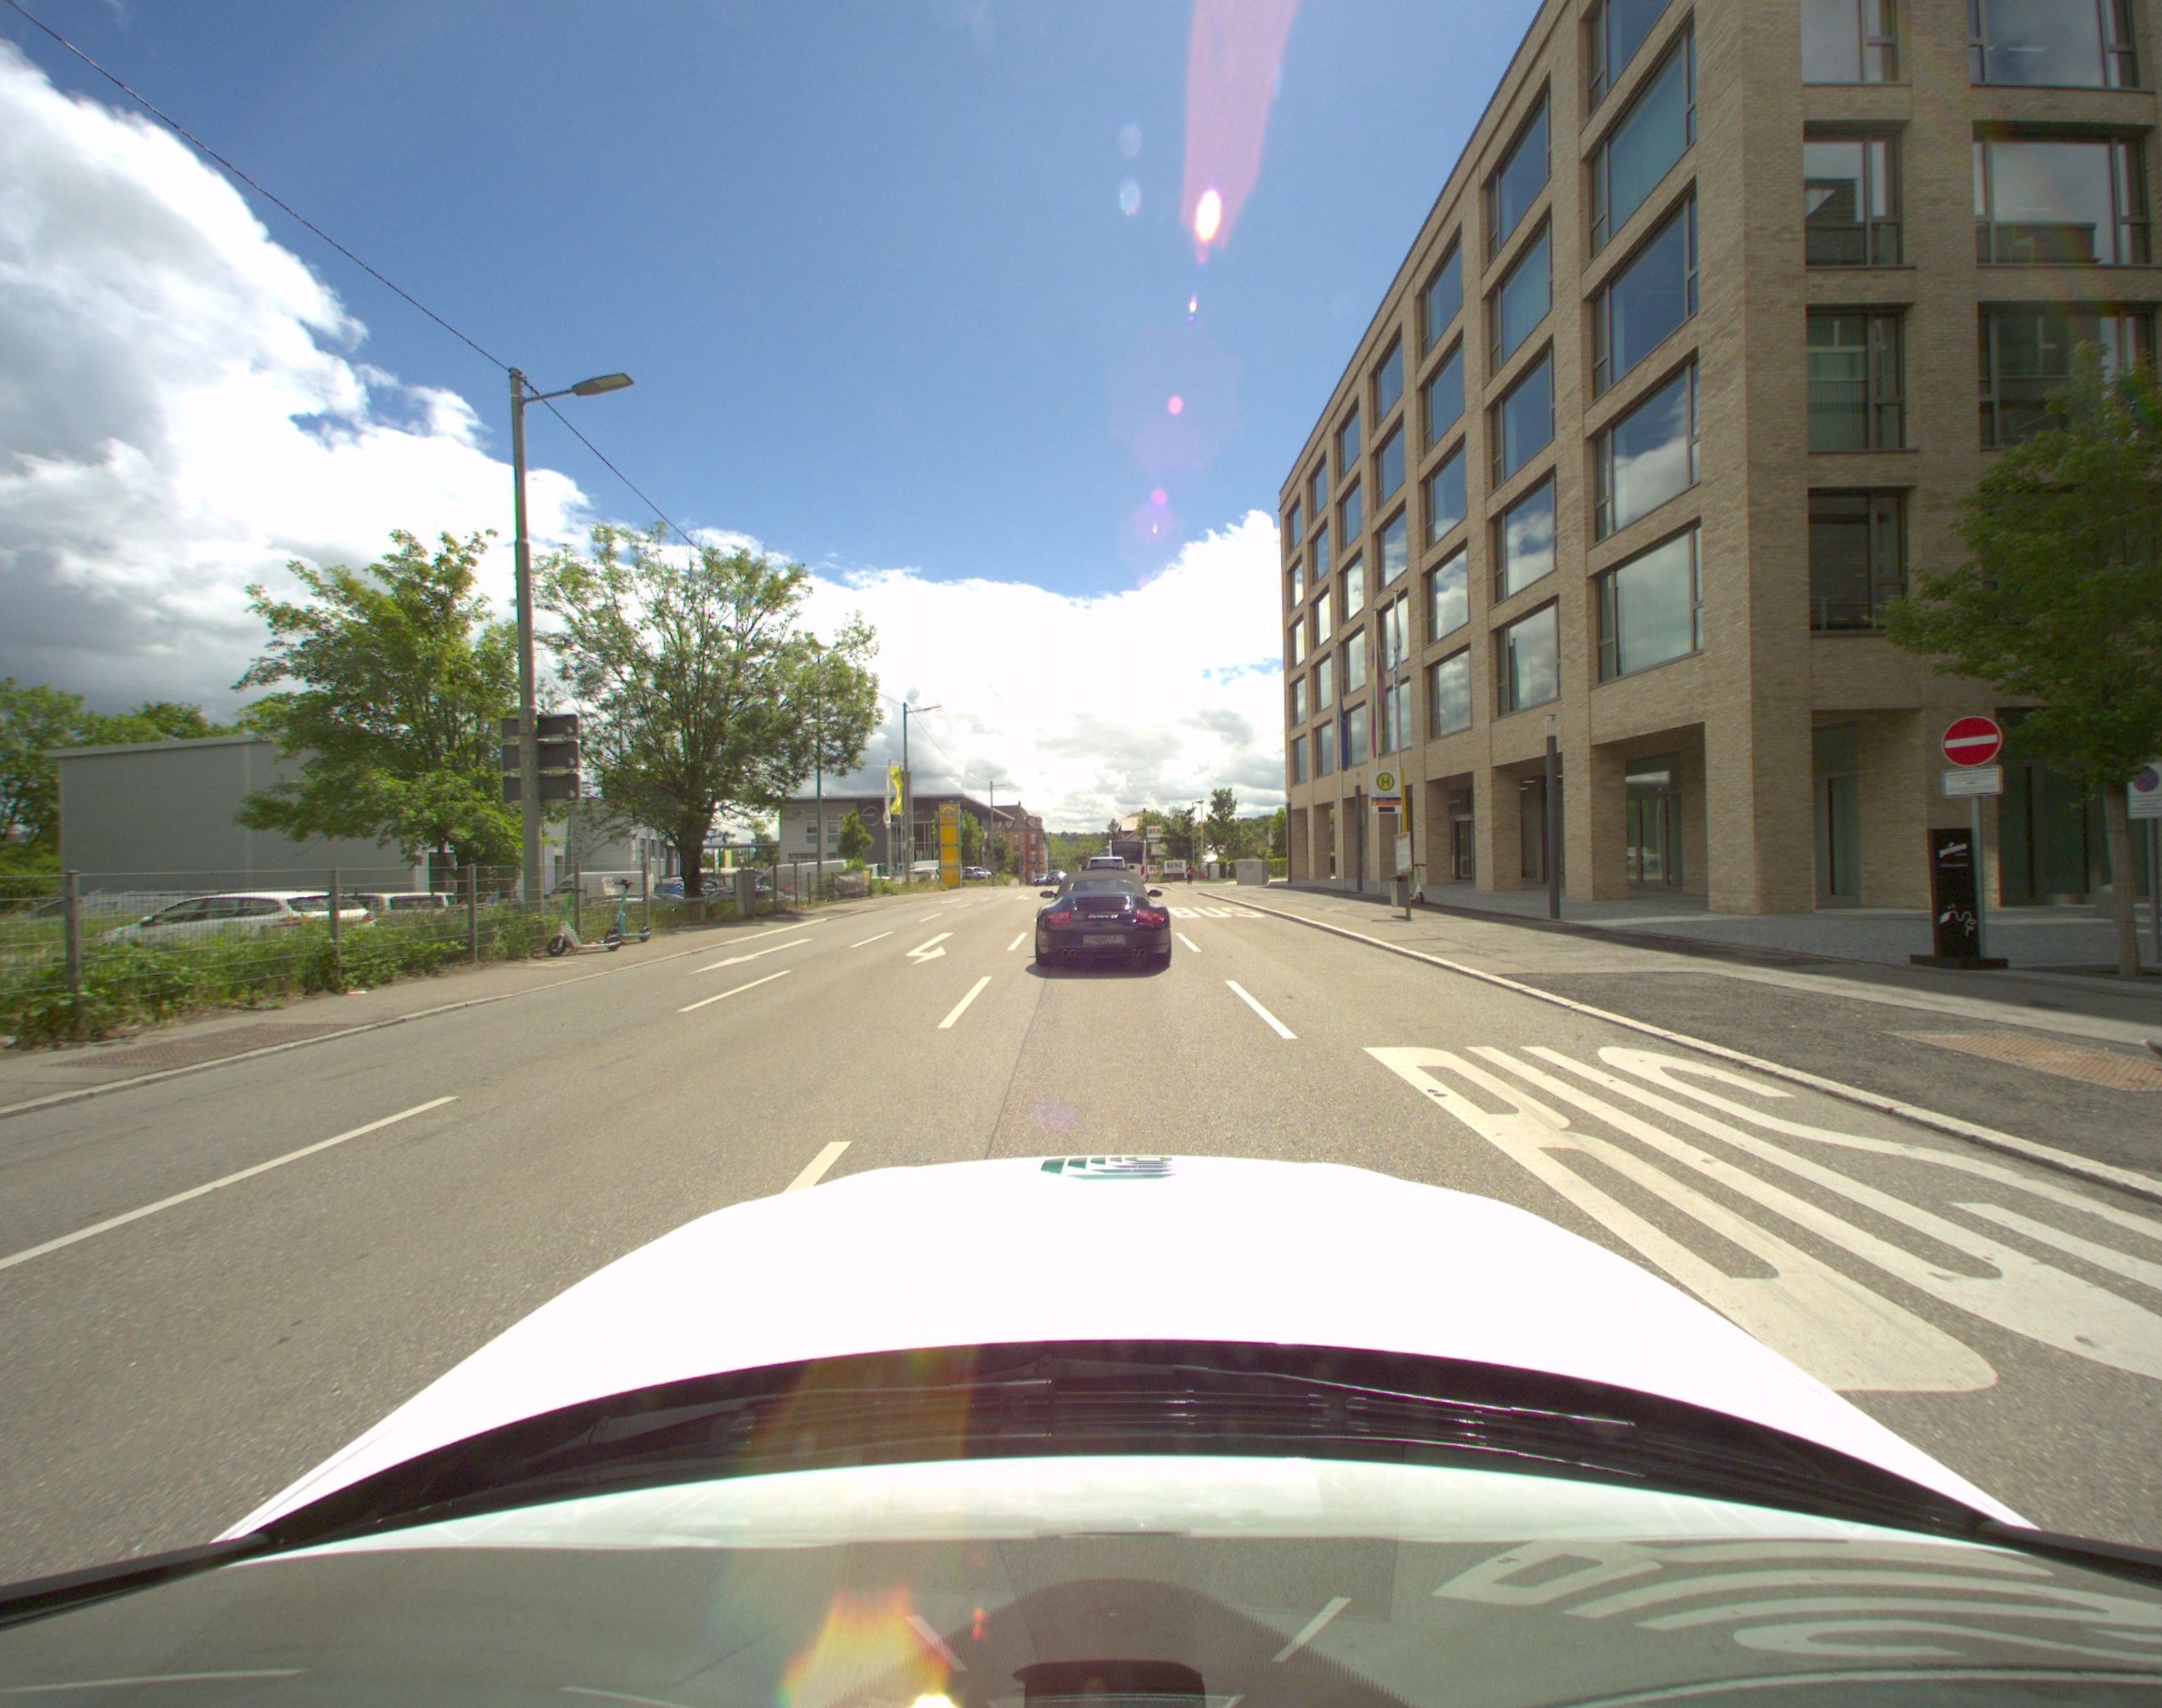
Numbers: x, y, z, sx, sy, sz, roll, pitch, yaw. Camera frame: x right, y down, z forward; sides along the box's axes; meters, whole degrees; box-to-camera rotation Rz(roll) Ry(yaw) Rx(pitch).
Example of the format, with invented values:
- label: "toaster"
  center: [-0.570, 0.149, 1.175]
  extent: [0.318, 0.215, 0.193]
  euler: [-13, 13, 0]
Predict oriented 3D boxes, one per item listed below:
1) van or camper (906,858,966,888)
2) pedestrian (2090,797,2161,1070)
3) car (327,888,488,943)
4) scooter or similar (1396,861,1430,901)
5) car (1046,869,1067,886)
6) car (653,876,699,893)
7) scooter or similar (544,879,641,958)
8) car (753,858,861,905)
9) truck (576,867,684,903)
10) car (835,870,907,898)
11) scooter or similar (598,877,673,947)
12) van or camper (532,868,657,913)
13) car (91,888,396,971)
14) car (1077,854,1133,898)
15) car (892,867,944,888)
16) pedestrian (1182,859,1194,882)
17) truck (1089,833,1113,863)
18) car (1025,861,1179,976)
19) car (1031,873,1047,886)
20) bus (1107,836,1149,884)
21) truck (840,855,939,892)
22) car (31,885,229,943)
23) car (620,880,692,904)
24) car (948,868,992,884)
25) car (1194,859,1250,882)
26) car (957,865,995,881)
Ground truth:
- label: "van or camper"
  center: [-13.143, 1.707, 74.038]
  extent: [5.011, 2.531, 2.317]
  euler: [-1, 0, 0]
- label: "pedestrian"
  center: [7.181, 0.502, 5.036]
  extent: [0.681, 1.728, 0.962]
  euler: [-1, 0, 0]
- label: "car"
  center: [-25.344, 2.250, 30.942]
  extent: [1.829, 1.728, 4.919]
  euler: [-2, -1, 3]
- label: "scooter or similar"
  center: [9.943, 0.793, 24.448]
  extent: [0.425, 1.153, 1.403]
  euler: [-2, -1, 0]
- label: "car"
  center: [-2.265, 2.182, 76.375]
  extent: [1.824, 1.509, 4.274]
  euler: [-2, -2, -1]
- label: "car"
  center: [-36.856, 2.796, 74.135]
  extent: [3.476, 1.398, 1.653]
  euler: [-1, 0, -18]
- label: "scooter or similar"
  center: [-8.581, 1.098, 14.364]
  extent: [0.530, 1.262, 1.478]
  euler: [0, 0, 18]
- label: "car"
  center: [-12.465, 1.217, 37.247]
  extent: [4.149, 2.013, 2.197]
  euler: [-1, 0, -2]
- label: "truck"
  center: [-32.010, 2.201, 58.061]
  extent: [6.314, 2.229, 2.683]
  euler: [-1, -2, -20]
- label: "car"
  center: [-12.936, 1.835, 50.316]
  extent: [3.872, 1.610, 1.928]
  euler: [-1, -2, 0]
- label: "scooter or similar"
  center: [-8.646, 1.096, 15.863]
  extent: [0.532, 1.266, 1.474]
  euler: [0, 0, 6]
- label: "van or camper"
  center: [-28.684, 2.095, 48.312]
  extent: [5.898, 2.355, 2.488]
  euler: [-1, 0, -18]
- label: "car"
  center: [-16.318, 1.444, 16.009]
  extent: [4.256, 1.381, 1.868]
  euler: [-2, -1, 5]
- label: "car"
  center: [0.869, 0.814, 31.870]
  extent: [1.925, 1.583, 4.205]
  euler: [-1, 0, -1]
- label: "car"
  center: [-14.283, 2.058, 71.433]
  extent: [3.967, 1.706, 2.003]
  euler: [-1, 0, 5]
- label: "pedestrian"
  center: [7.191, 1.122, 54.758]
  extent: [0.685, 1.536, 0.856]
  euler: [-2, -1, 0]
- label: "truck"
  center: [2.327, -0.666, 97.623]
  extent: [2.658, 3.108, 9.034]
  euler: [-2, -2, 1]
- label: "car"
  center: [0.329, 0.838, 12.411]
  extent: [1.923, 1.376, 4.210]
  euler: [-1, 0, 2]
- label: "car"
  center: [-5.314, 3.238, 104.160]
  extent: [1.738, 1.595, 4.040]
  euler: [-4, -1, -1]
- label: "bus"
  center: [3.420, 0.380, 60.810]
  extent: [2.791, 3.198, 12.202]
  euler: [-1, 0, 2]
- label: "truck"
  center: [-12.352, 1.284, 52.944]
  extent: [5.847, 2.148, 2.474]
  euler: [-2, -2, -3]
- label: "car"
  center: [-33.465, 2.066, 28.811]
  extent: [4.173, 1.728, 1.831]
  euler: [-2, -1, -19]
- label: "car"
  center: [-29.270, 2.624, 56.245]
  extent: [4.245, 1.497, 1.914]
  euler: [0, -2, -23]
- label: "car"
  center: [-11.179, 2.216, 82.621]
  extent: [1.877, 1.450, 4.862]
  euler: [-1, 0, 28]
- label: "car"
  center: [13.234, 1.567, 76.632]
  extent: [4.703, 1.848, 2.083]
  euler: [-2, -2, -7]
- label: "car"
  center: [-11.312, 2.053, 87.767]
  extent: [1.913, 1.573, 4.578]
  euler: [-2, -2, 24]
